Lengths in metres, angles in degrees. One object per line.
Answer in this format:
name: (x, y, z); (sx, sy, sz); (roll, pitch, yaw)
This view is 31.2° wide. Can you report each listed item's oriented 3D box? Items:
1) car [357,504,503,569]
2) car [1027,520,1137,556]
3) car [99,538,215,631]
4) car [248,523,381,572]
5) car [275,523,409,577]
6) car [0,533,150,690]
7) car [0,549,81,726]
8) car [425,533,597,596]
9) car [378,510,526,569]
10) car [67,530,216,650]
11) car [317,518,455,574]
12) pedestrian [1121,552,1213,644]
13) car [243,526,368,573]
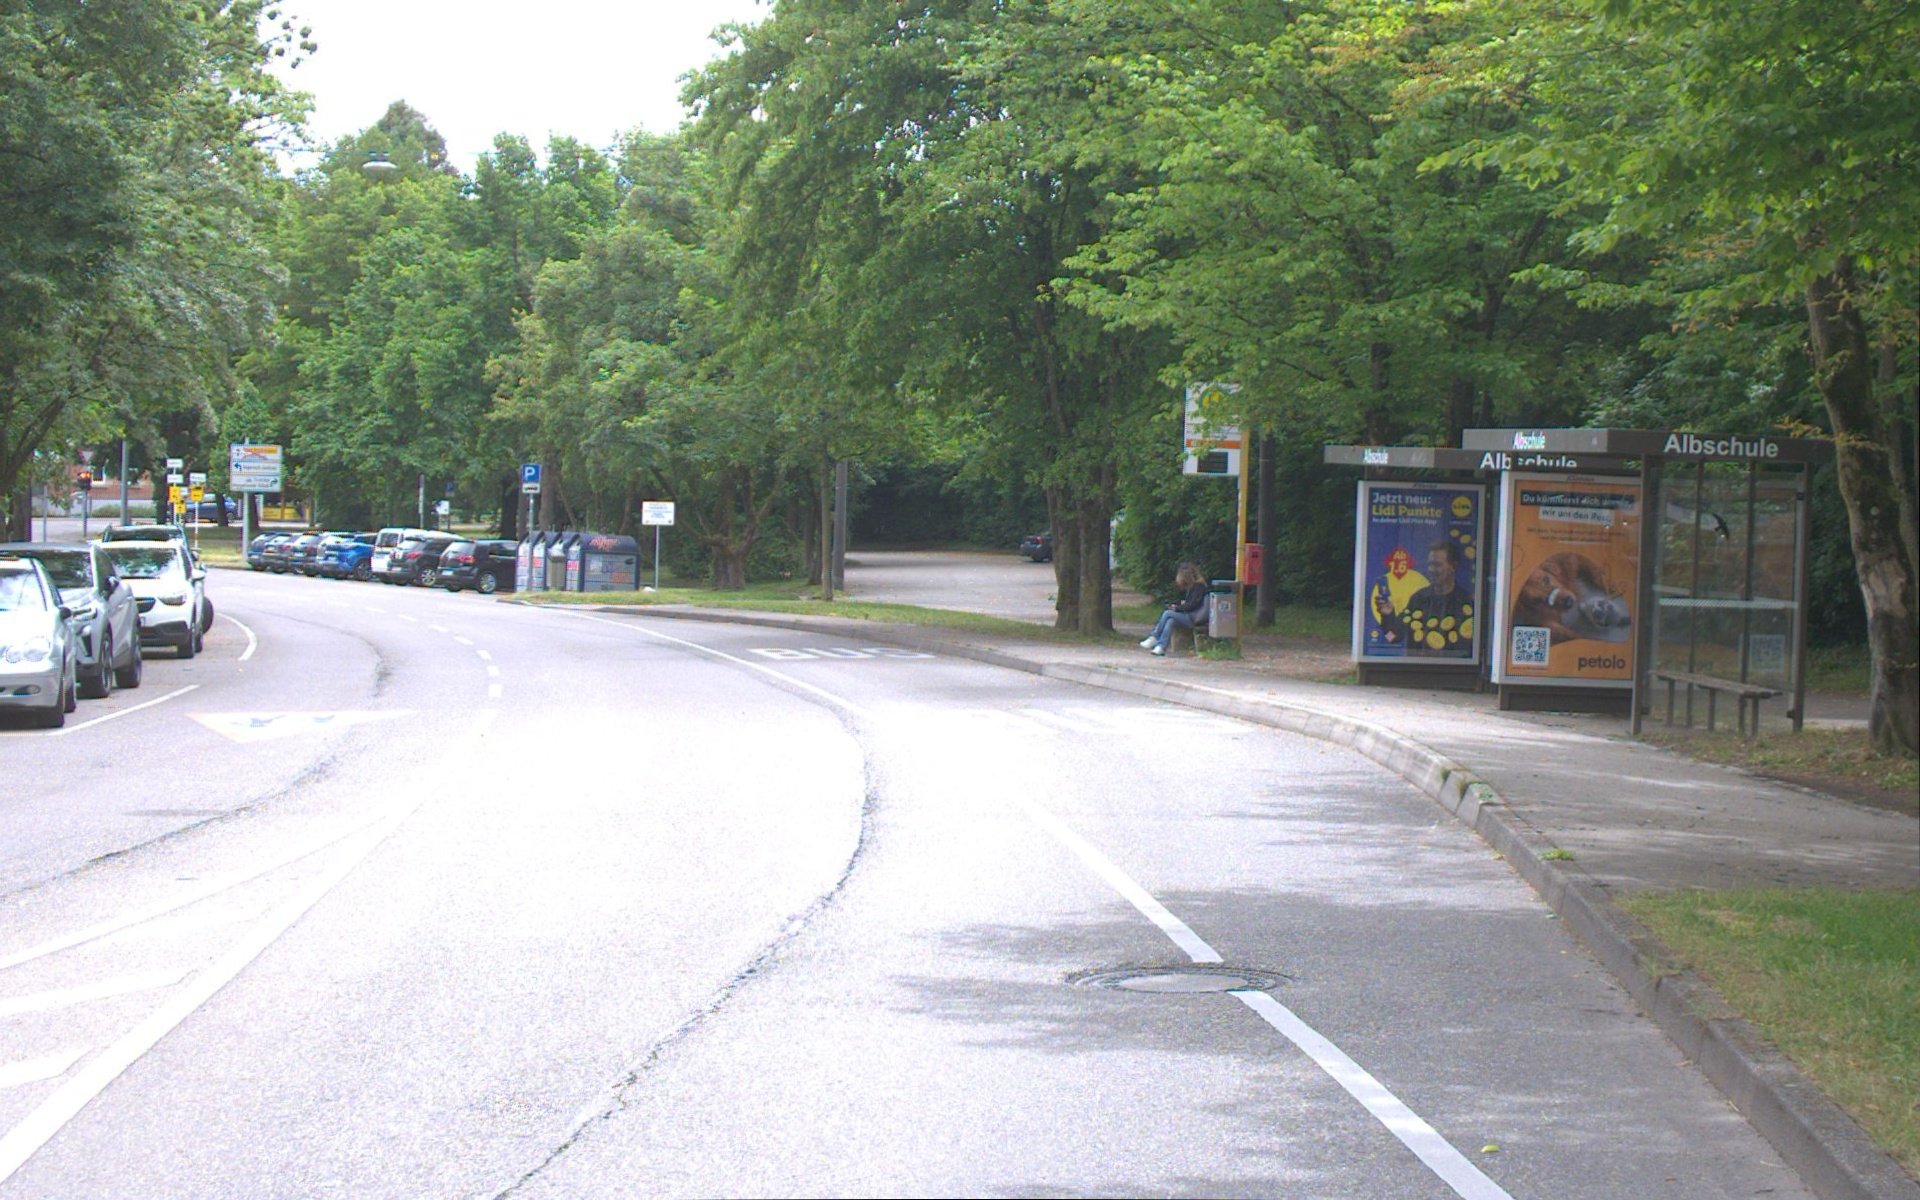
car: (-15.761, -1.886, 102.320); (3.820, 1.714, 1.878); (3, -1, -40)
car: (4.786, -2.442, 135.337); (3.986, 1.405, 1.801); (0, 1, -15)
car: (-13.719, -0.294, 58.819); (1.865, 1.533, 4.228); (0, 1, -13)
car: (-21.387, -1.742, 113.907); (3.874, 1.421, 1.829); (3, -1, -40)
car: (-19.952, -1.620, 111.050); (3.820, 1.523, 1.746); (3, -1, -40)
car: (-9.598, 0.079, 35.912); (1.735, 1.533, 4.190); (-1, 1, -7)
car: (-8.641, 0.280, 30.003); (1.735, 1.411, 4.474); (-1, 1, -13)
car: (-11.978, -0.938, 91.724); (3.988, 1.409, 2.057); (3, 1, -40)
car: (-14.721, -1.740, 99.724); (3.820, 1.463, 1.746); (3, 1, -40)
car: (-11.285, -0.177, 47.608); (1.735, 1.573, 4.142); (-1, 1, -10)
car: (-17.796, -1.670, 106.678); (3.820, 1.523, 1.746); (3, -1, -40)
pedestrian: (2.676, -0.028, 44.451); (1.063, 1.178, 0.580); (0, 1, -12)
car: (-22.575, -1.735, 118.573); (3.820, 1.420, 1.746); (3, -1, -40)
